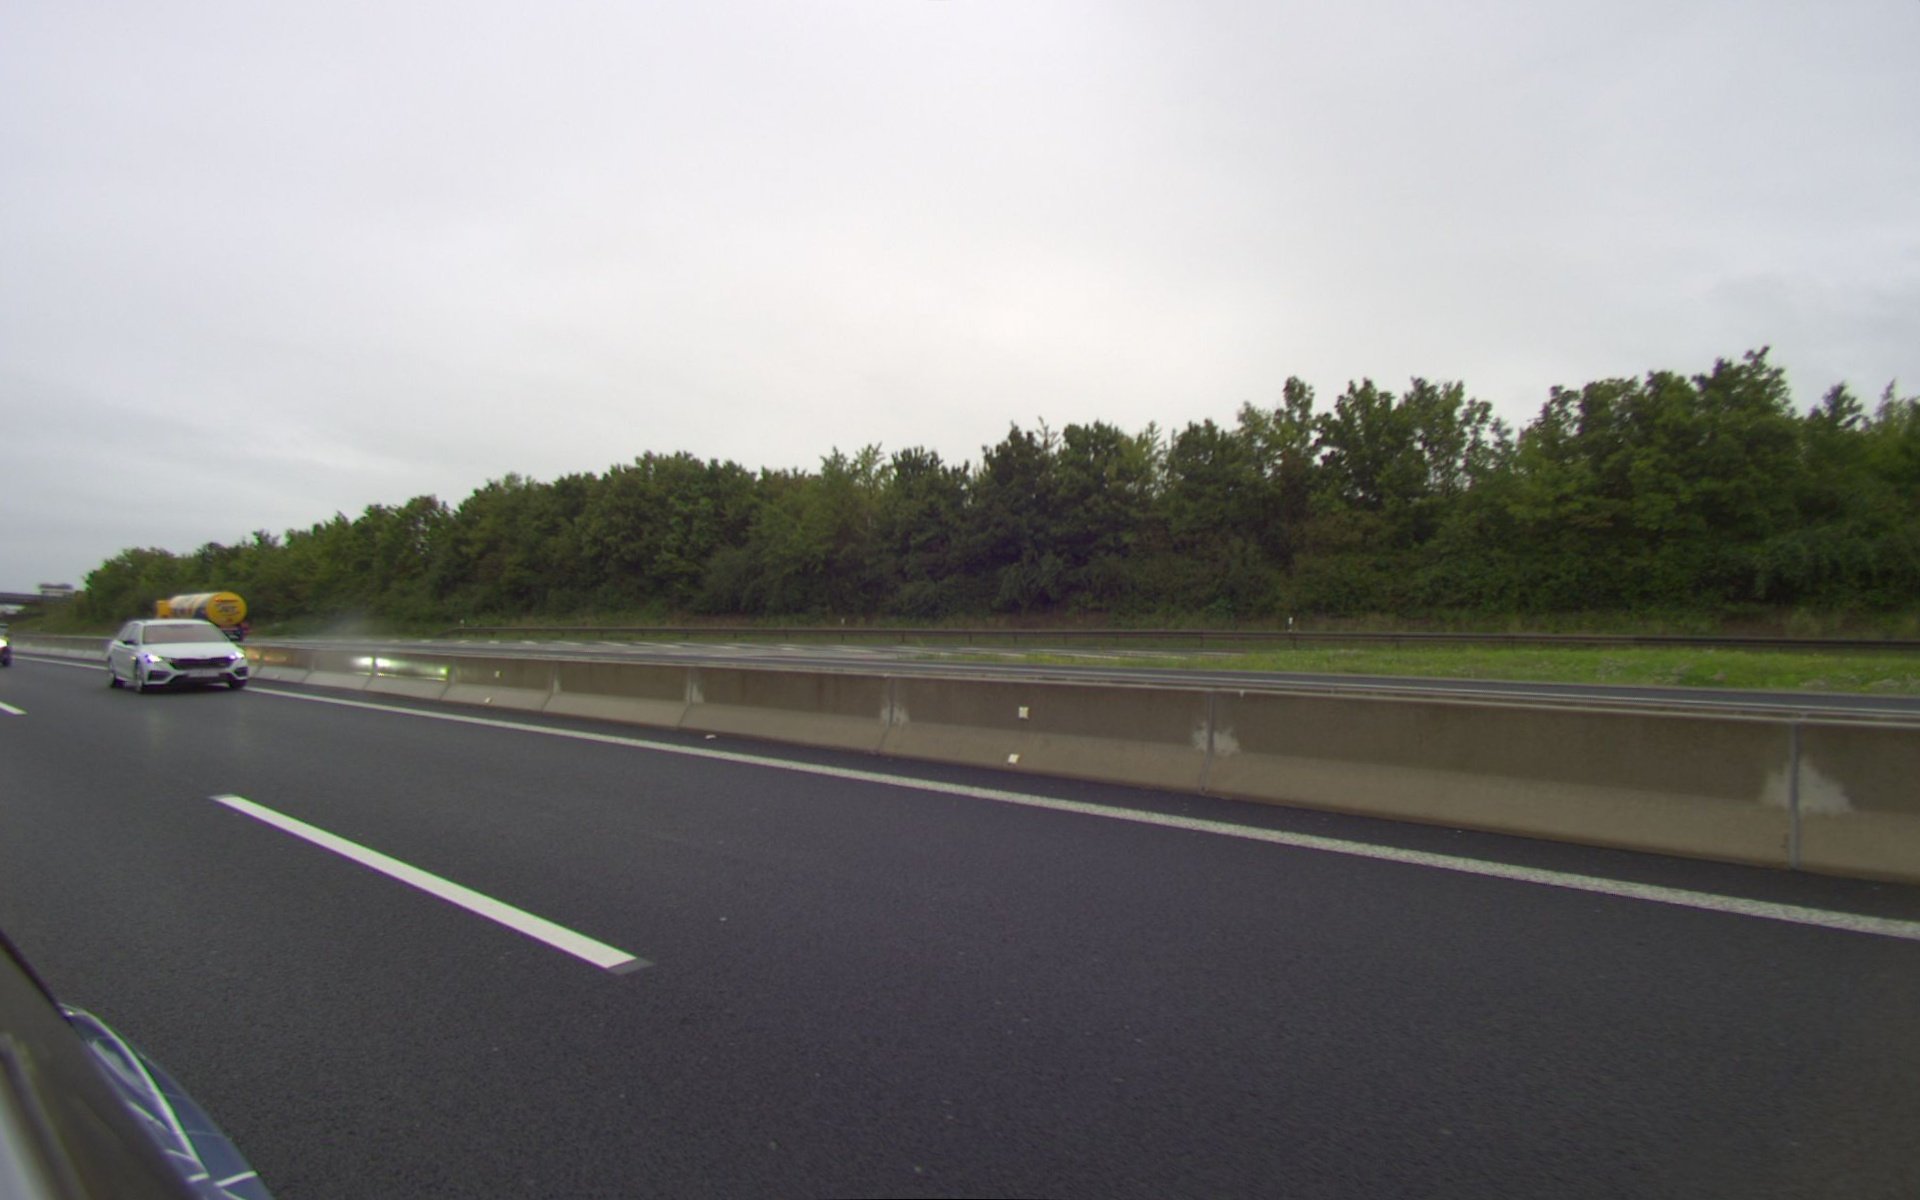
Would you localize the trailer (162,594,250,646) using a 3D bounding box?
[{"bbox_3d":[-53.279,1.412,71.351,11.443,3.424,2.732,-1,0,42],"label":"trailer"}]

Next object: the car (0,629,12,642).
[{"bbox_3d":[-130.879,4.872,137.281,4.553,1.708,2.163,-1,-2,32],"label":"car"}]

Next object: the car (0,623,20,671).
[{"bbox_3d":[-31.933,1.517,32.700,4.112,1.518,1.881,-2,-2,41],"label":"car"}]

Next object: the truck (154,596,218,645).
[{"bbox_3d":[-57.513,1.495,75.142,5.844,3.424,2.732,-1,0,42],"label":"truck"}]

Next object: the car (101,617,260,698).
[{"bbox_3d":[-16.369,1.138,21.193,4.112,1.518,1.881,-2,-2,41],"label":"car"}]
